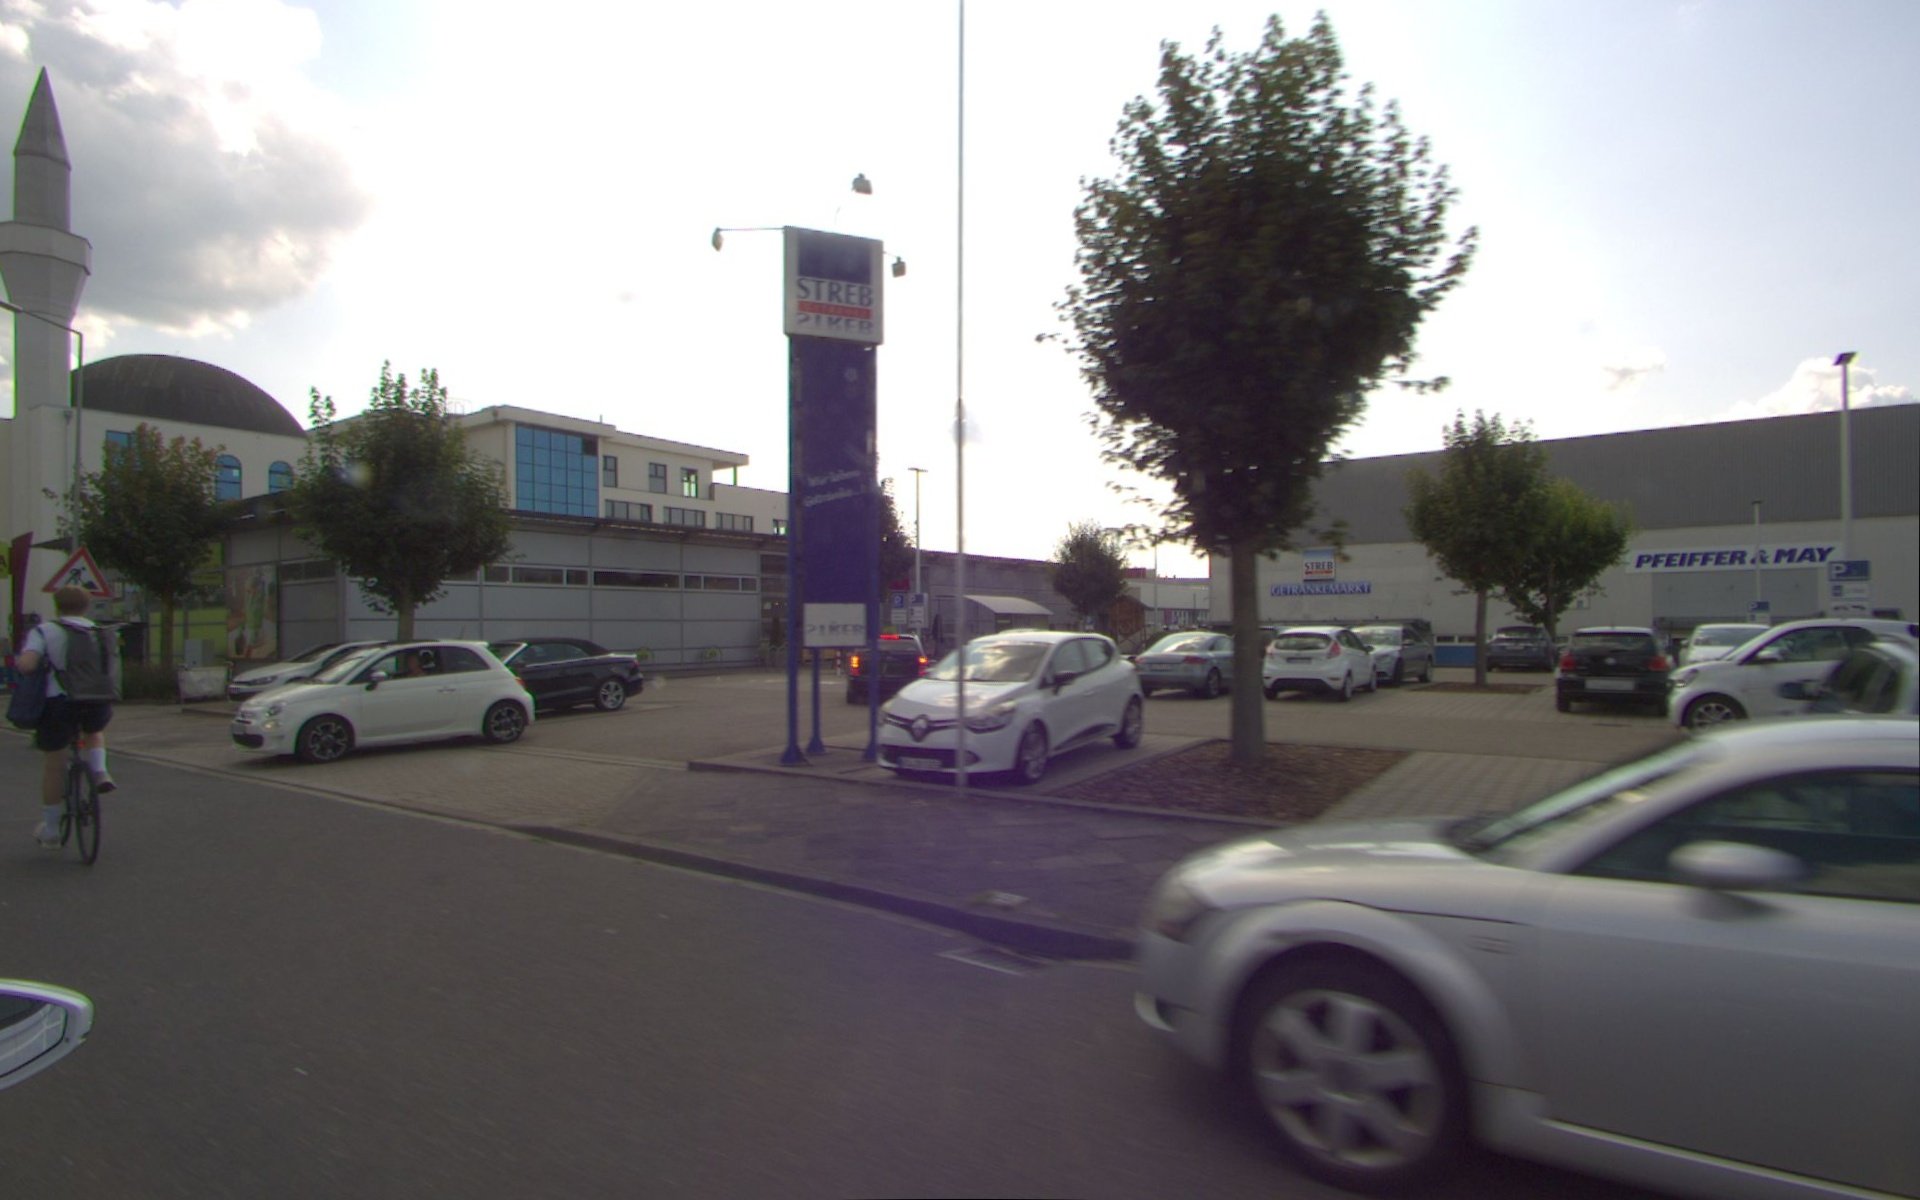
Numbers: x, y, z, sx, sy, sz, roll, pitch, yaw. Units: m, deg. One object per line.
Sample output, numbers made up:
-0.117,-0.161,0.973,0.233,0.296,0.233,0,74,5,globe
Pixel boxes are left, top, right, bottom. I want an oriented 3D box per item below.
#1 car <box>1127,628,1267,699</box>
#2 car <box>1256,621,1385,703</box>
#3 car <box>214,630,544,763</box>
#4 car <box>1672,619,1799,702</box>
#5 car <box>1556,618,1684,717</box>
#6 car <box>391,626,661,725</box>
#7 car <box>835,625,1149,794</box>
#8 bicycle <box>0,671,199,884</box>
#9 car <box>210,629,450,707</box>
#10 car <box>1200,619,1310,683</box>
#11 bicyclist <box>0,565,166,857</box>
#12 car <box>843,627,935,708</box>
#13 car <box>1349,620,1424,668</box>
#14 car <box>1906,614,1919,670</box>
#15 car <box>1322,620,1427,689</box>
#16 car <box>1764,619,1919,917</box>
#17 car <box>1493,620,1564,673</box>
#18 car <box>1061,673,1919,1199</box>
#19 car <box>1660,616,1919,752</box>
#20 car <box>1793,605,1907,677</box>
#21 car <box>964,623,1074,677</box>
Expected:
5.371,1.338,22.326,1.769,1.355,4.095,-1,-1,33,car
7.711,1.226,21.195,1.700,1.503,4.049,-1,-1,33,car
-7.862,1.206,13.798,1.668,1.489,3.584,-1,0,39,car
15.864,1.166,20.659,1.700,1.503,4.001,-1,-1,33,car
11.636,1.092,17.744,1.700,1.503,3.986,-1,-1,33,car
-7.611,1.252,17.959,1.781,1.449,4.171,-1,-1,32,car
0.547,1.051,11.257,1.771,1.429,3.943,-1,0,32,car
-6.242,1.107,6.924,2.592,1.195,0.796,-2,-3,35,bicycle
-13.952,1.435,22.400,1.962,1.482,4.094,-1,-1,32,car
7.808,1.286,26.299,1.700,1.503,4.033,-1,-1,33,car
-6.220,0.725,6.910,1.191,1.814,0.805,-2,-3,35,bicyclist
-1.447,1.297,20.595,1.654,1.429,4.388,-1,-1,-4,car
14.810,1.484,34.634,1.700,1.503,4.175,-1,-1,33,car
26.429,1.132,26.199,1.700,1.503,3.913,-1,-1,33,car
10.305,1.284,24.728,1.700,1.503,4.109,-1,-1,33,car
6.635,0.879,6.486,1.821,1.462,4.297,-1,-1,34,car
18.058,1.418,31.718,1.731,1.503,4.040,-1,-1,33,car
2.419,0.955,2.851,3.932,1.356,1.658,-1,-5,35,car
10.892,0.983,12.276,3.701,1.538,1.716,-1,-2,33,car
24.213,1.065,27.377,1.700,1.823,4.056,-1,-1,33,car
1.915,1.519,31.473,1.700,1.503,4.040,-1,-1,33,car
